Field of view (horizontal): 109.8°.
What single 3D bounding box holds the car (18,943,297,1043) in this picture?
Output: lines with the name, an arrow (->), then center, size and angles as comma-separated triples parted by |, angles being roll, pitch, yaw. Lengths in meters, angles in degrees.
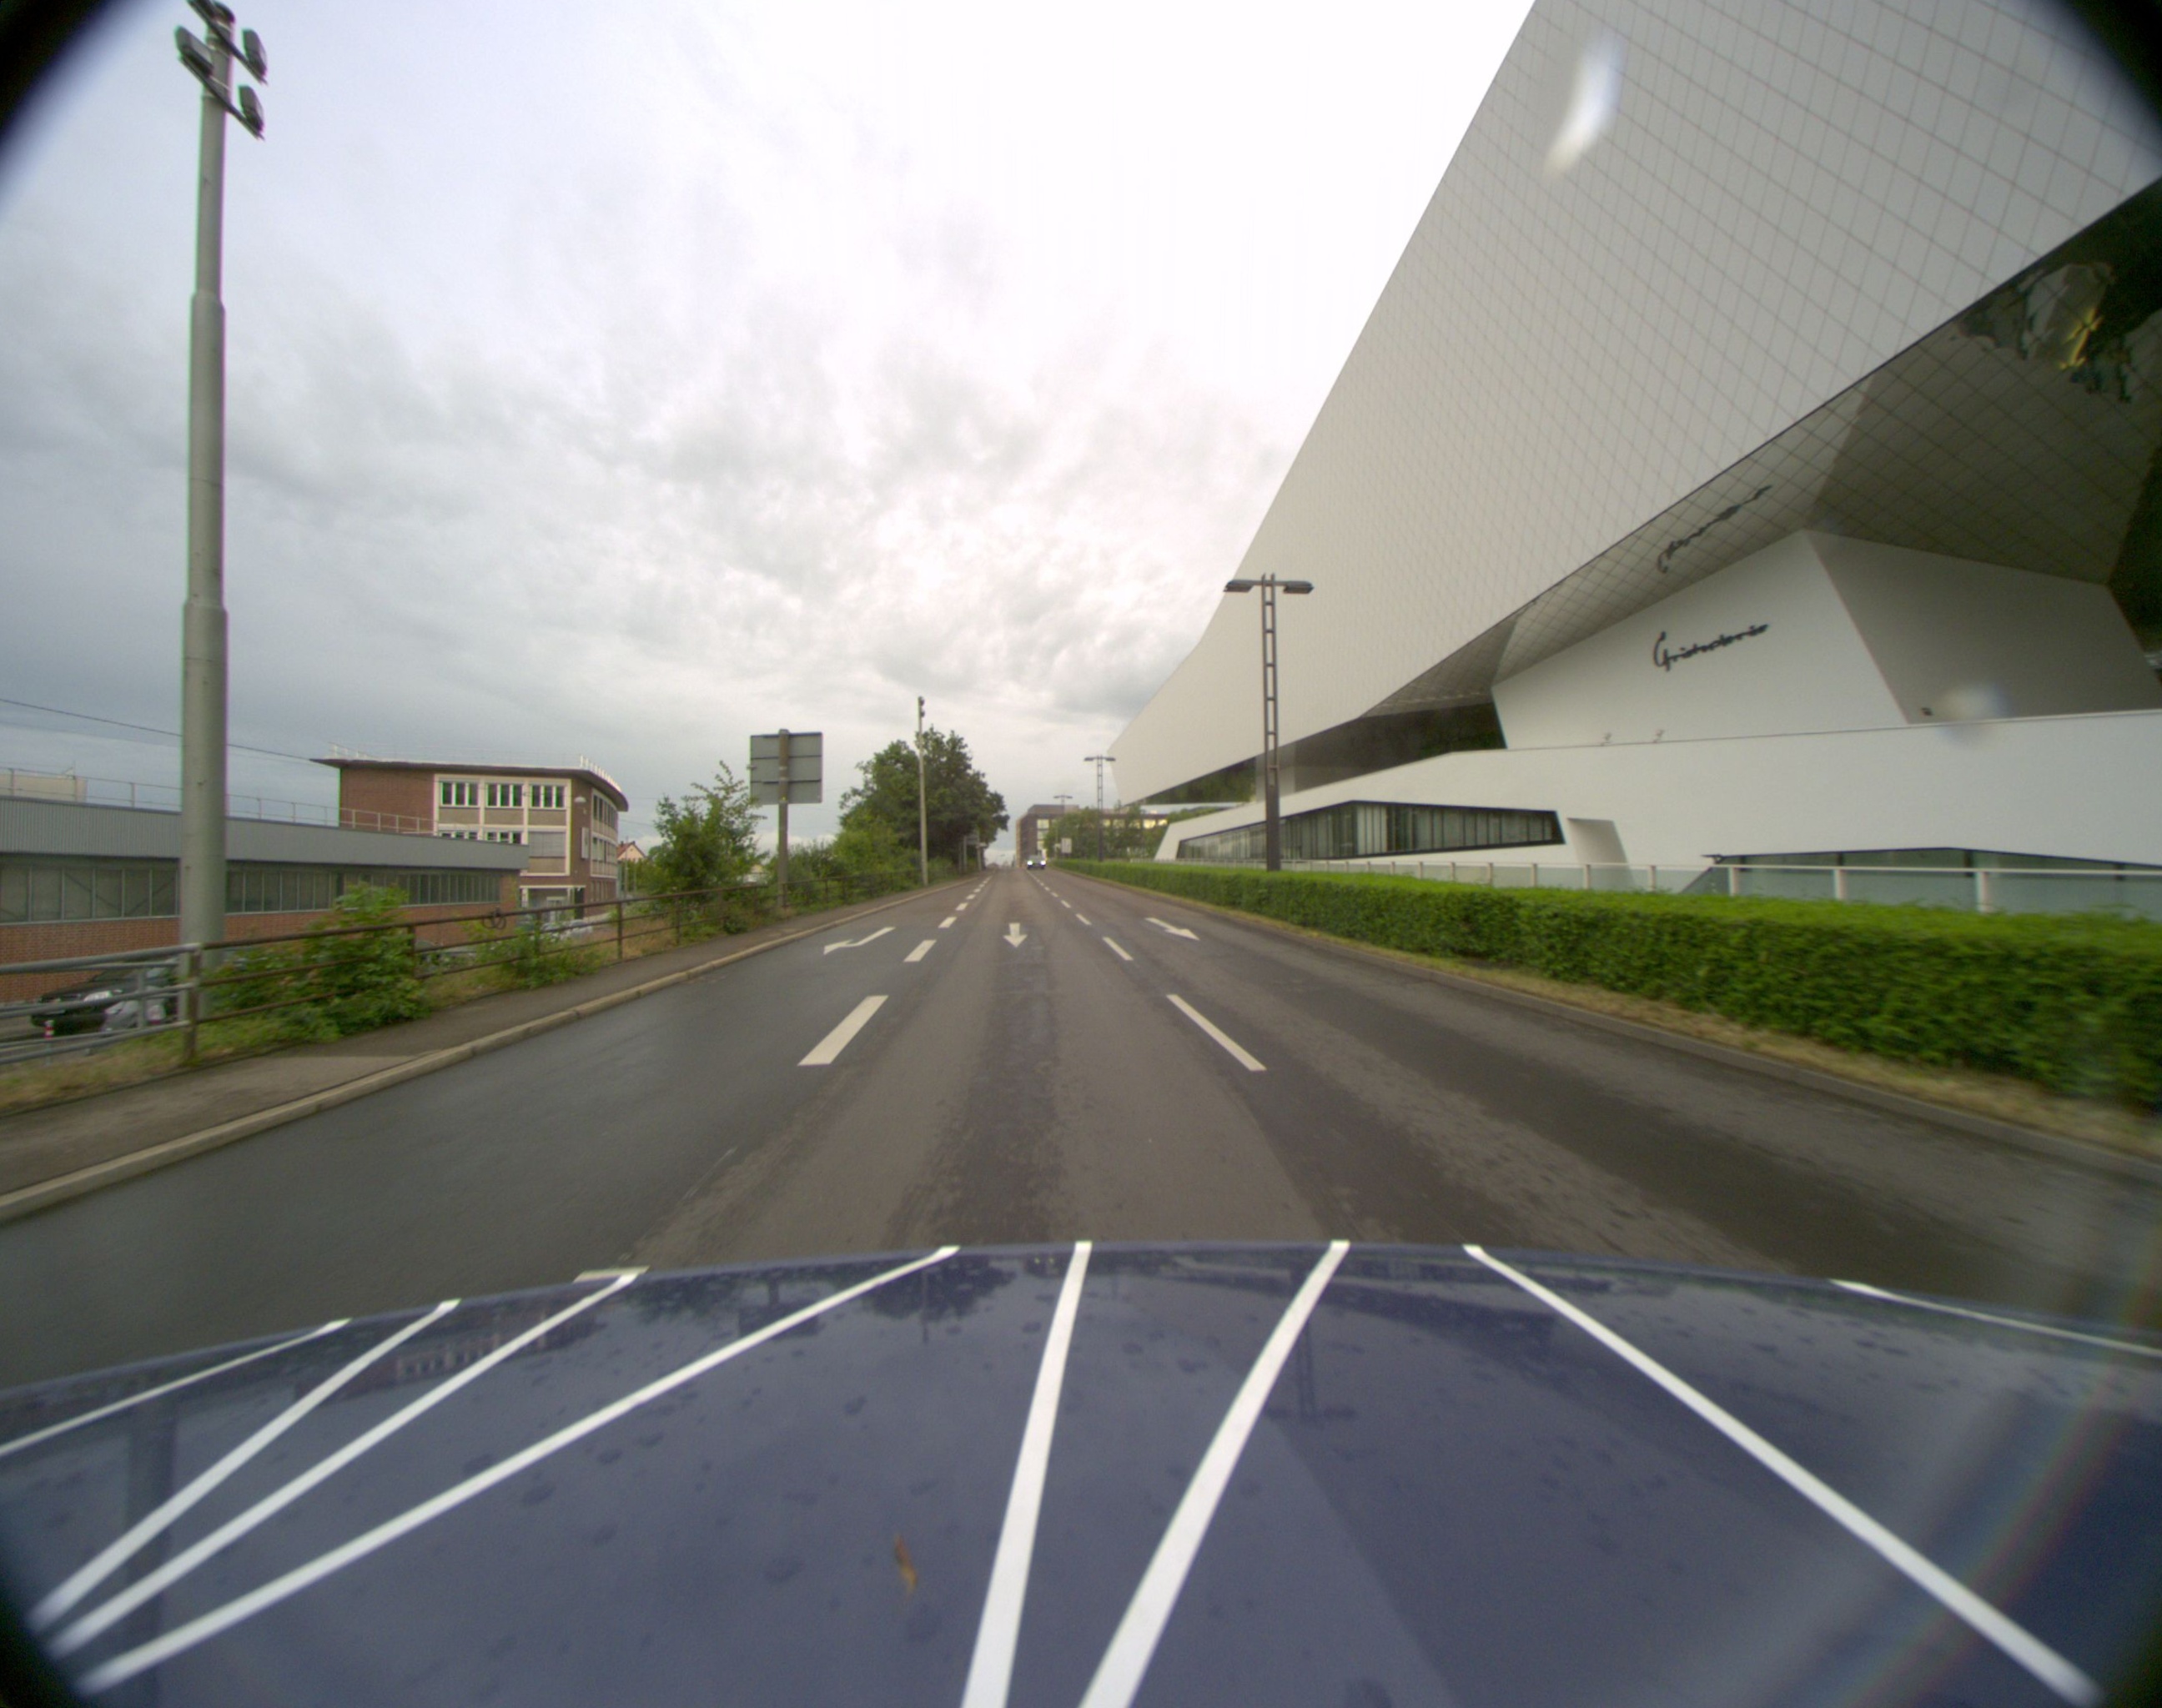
car -> -22.220, 3.261, 18.627 | 1.638, 1.621, 4.428 | -1, 0, -5

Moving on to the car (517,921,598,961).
car -> -25.959, 4.278, 37.832 | 1.703, 1.546, 3.854 | -1, 0, -8

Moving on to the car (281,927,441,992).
car -> -23.053, 3.334, 24.553 | 1.703, 1.546, 3.855 | -1, 0, -5

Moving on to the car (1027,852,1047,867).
car -> -4.919, 0.579, 84.649 | 1.842, 1.574, 4.286 | -1, 0, -7

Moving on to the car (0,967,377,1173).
car -> -11.535, 2.523, 9.704 | 1.703, 1.546, 3.855 | -1, 0, -5
